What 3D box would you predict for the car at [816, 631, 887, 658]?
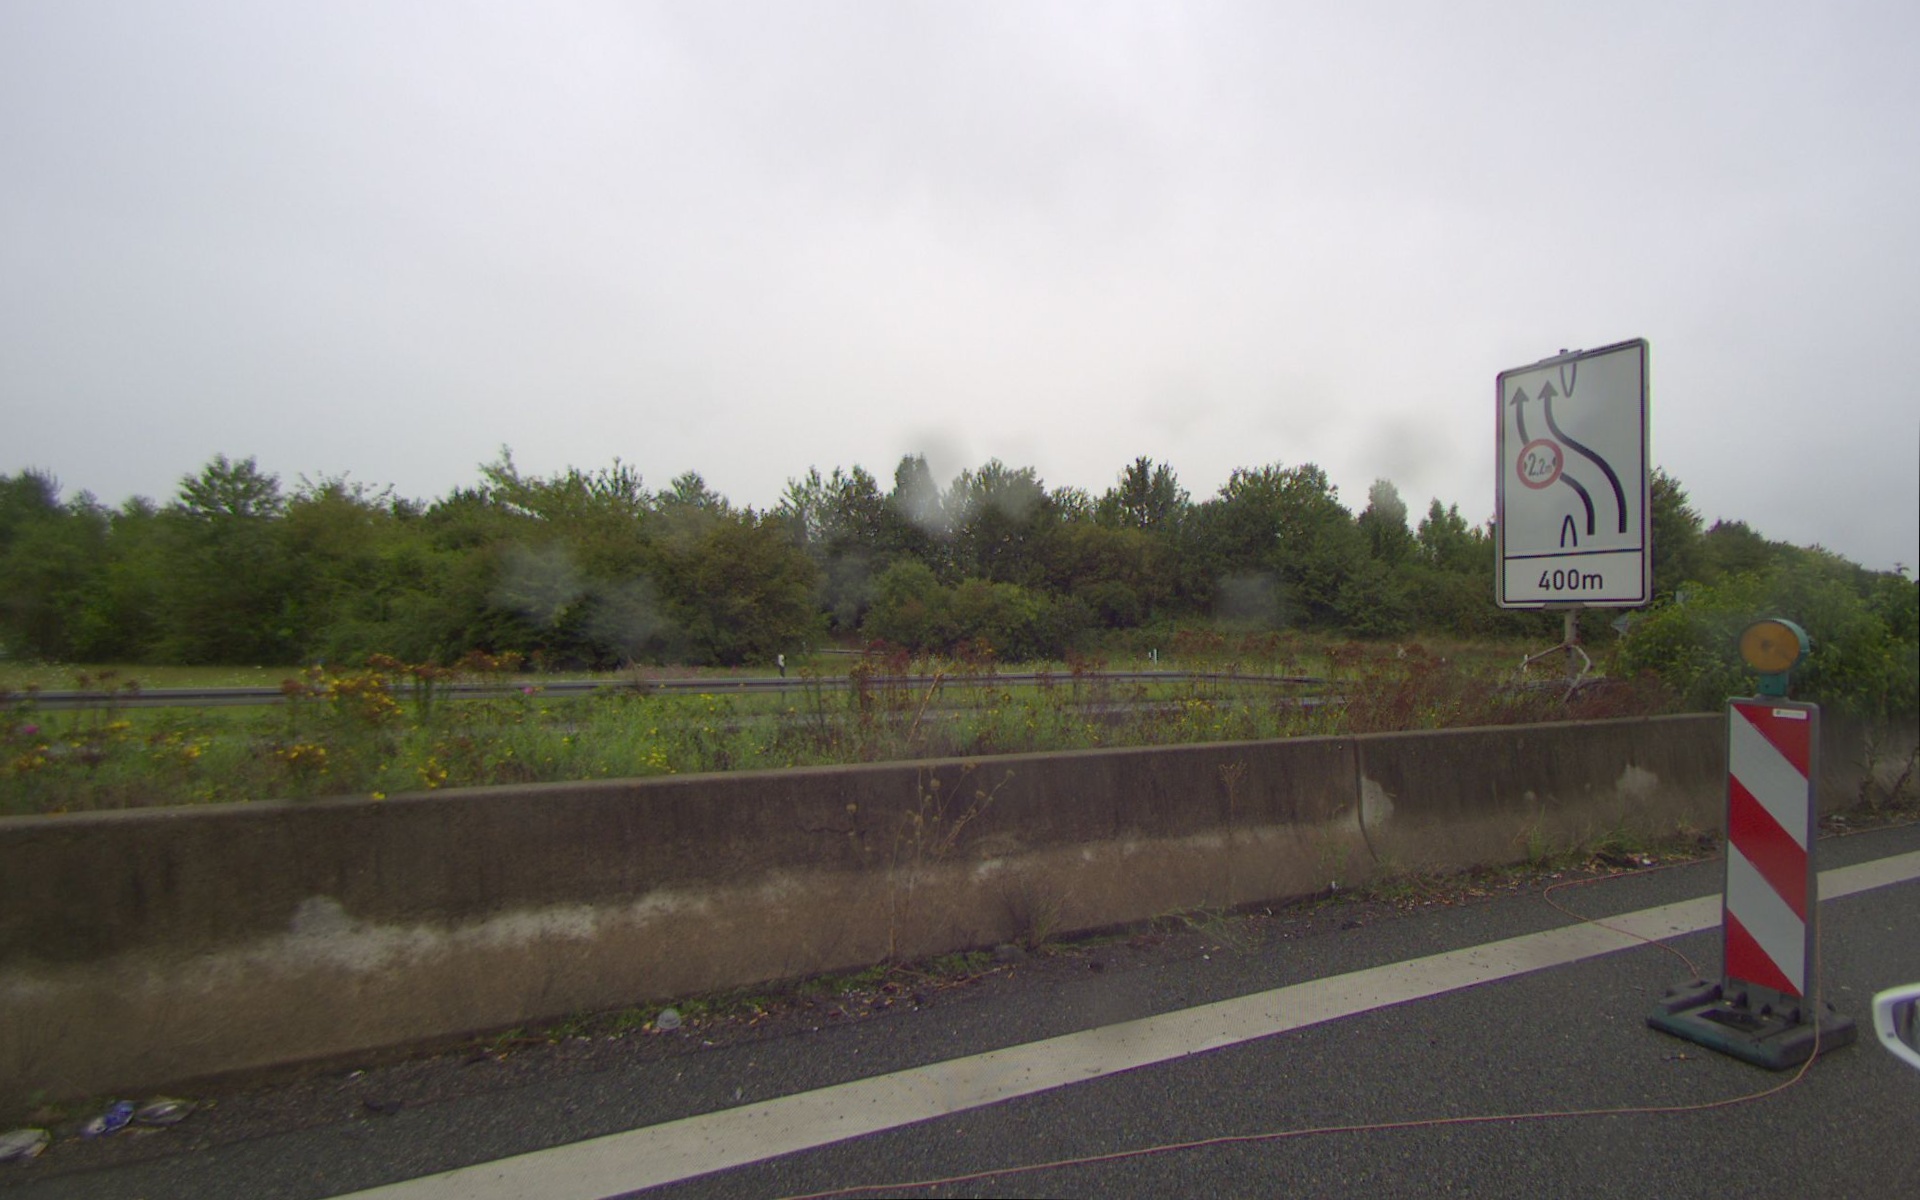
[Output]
[{"bbox_3d":[-6.444,2.648,59.852,3.835,1.550,1.705,0,-1,13],"label":"car"}]
